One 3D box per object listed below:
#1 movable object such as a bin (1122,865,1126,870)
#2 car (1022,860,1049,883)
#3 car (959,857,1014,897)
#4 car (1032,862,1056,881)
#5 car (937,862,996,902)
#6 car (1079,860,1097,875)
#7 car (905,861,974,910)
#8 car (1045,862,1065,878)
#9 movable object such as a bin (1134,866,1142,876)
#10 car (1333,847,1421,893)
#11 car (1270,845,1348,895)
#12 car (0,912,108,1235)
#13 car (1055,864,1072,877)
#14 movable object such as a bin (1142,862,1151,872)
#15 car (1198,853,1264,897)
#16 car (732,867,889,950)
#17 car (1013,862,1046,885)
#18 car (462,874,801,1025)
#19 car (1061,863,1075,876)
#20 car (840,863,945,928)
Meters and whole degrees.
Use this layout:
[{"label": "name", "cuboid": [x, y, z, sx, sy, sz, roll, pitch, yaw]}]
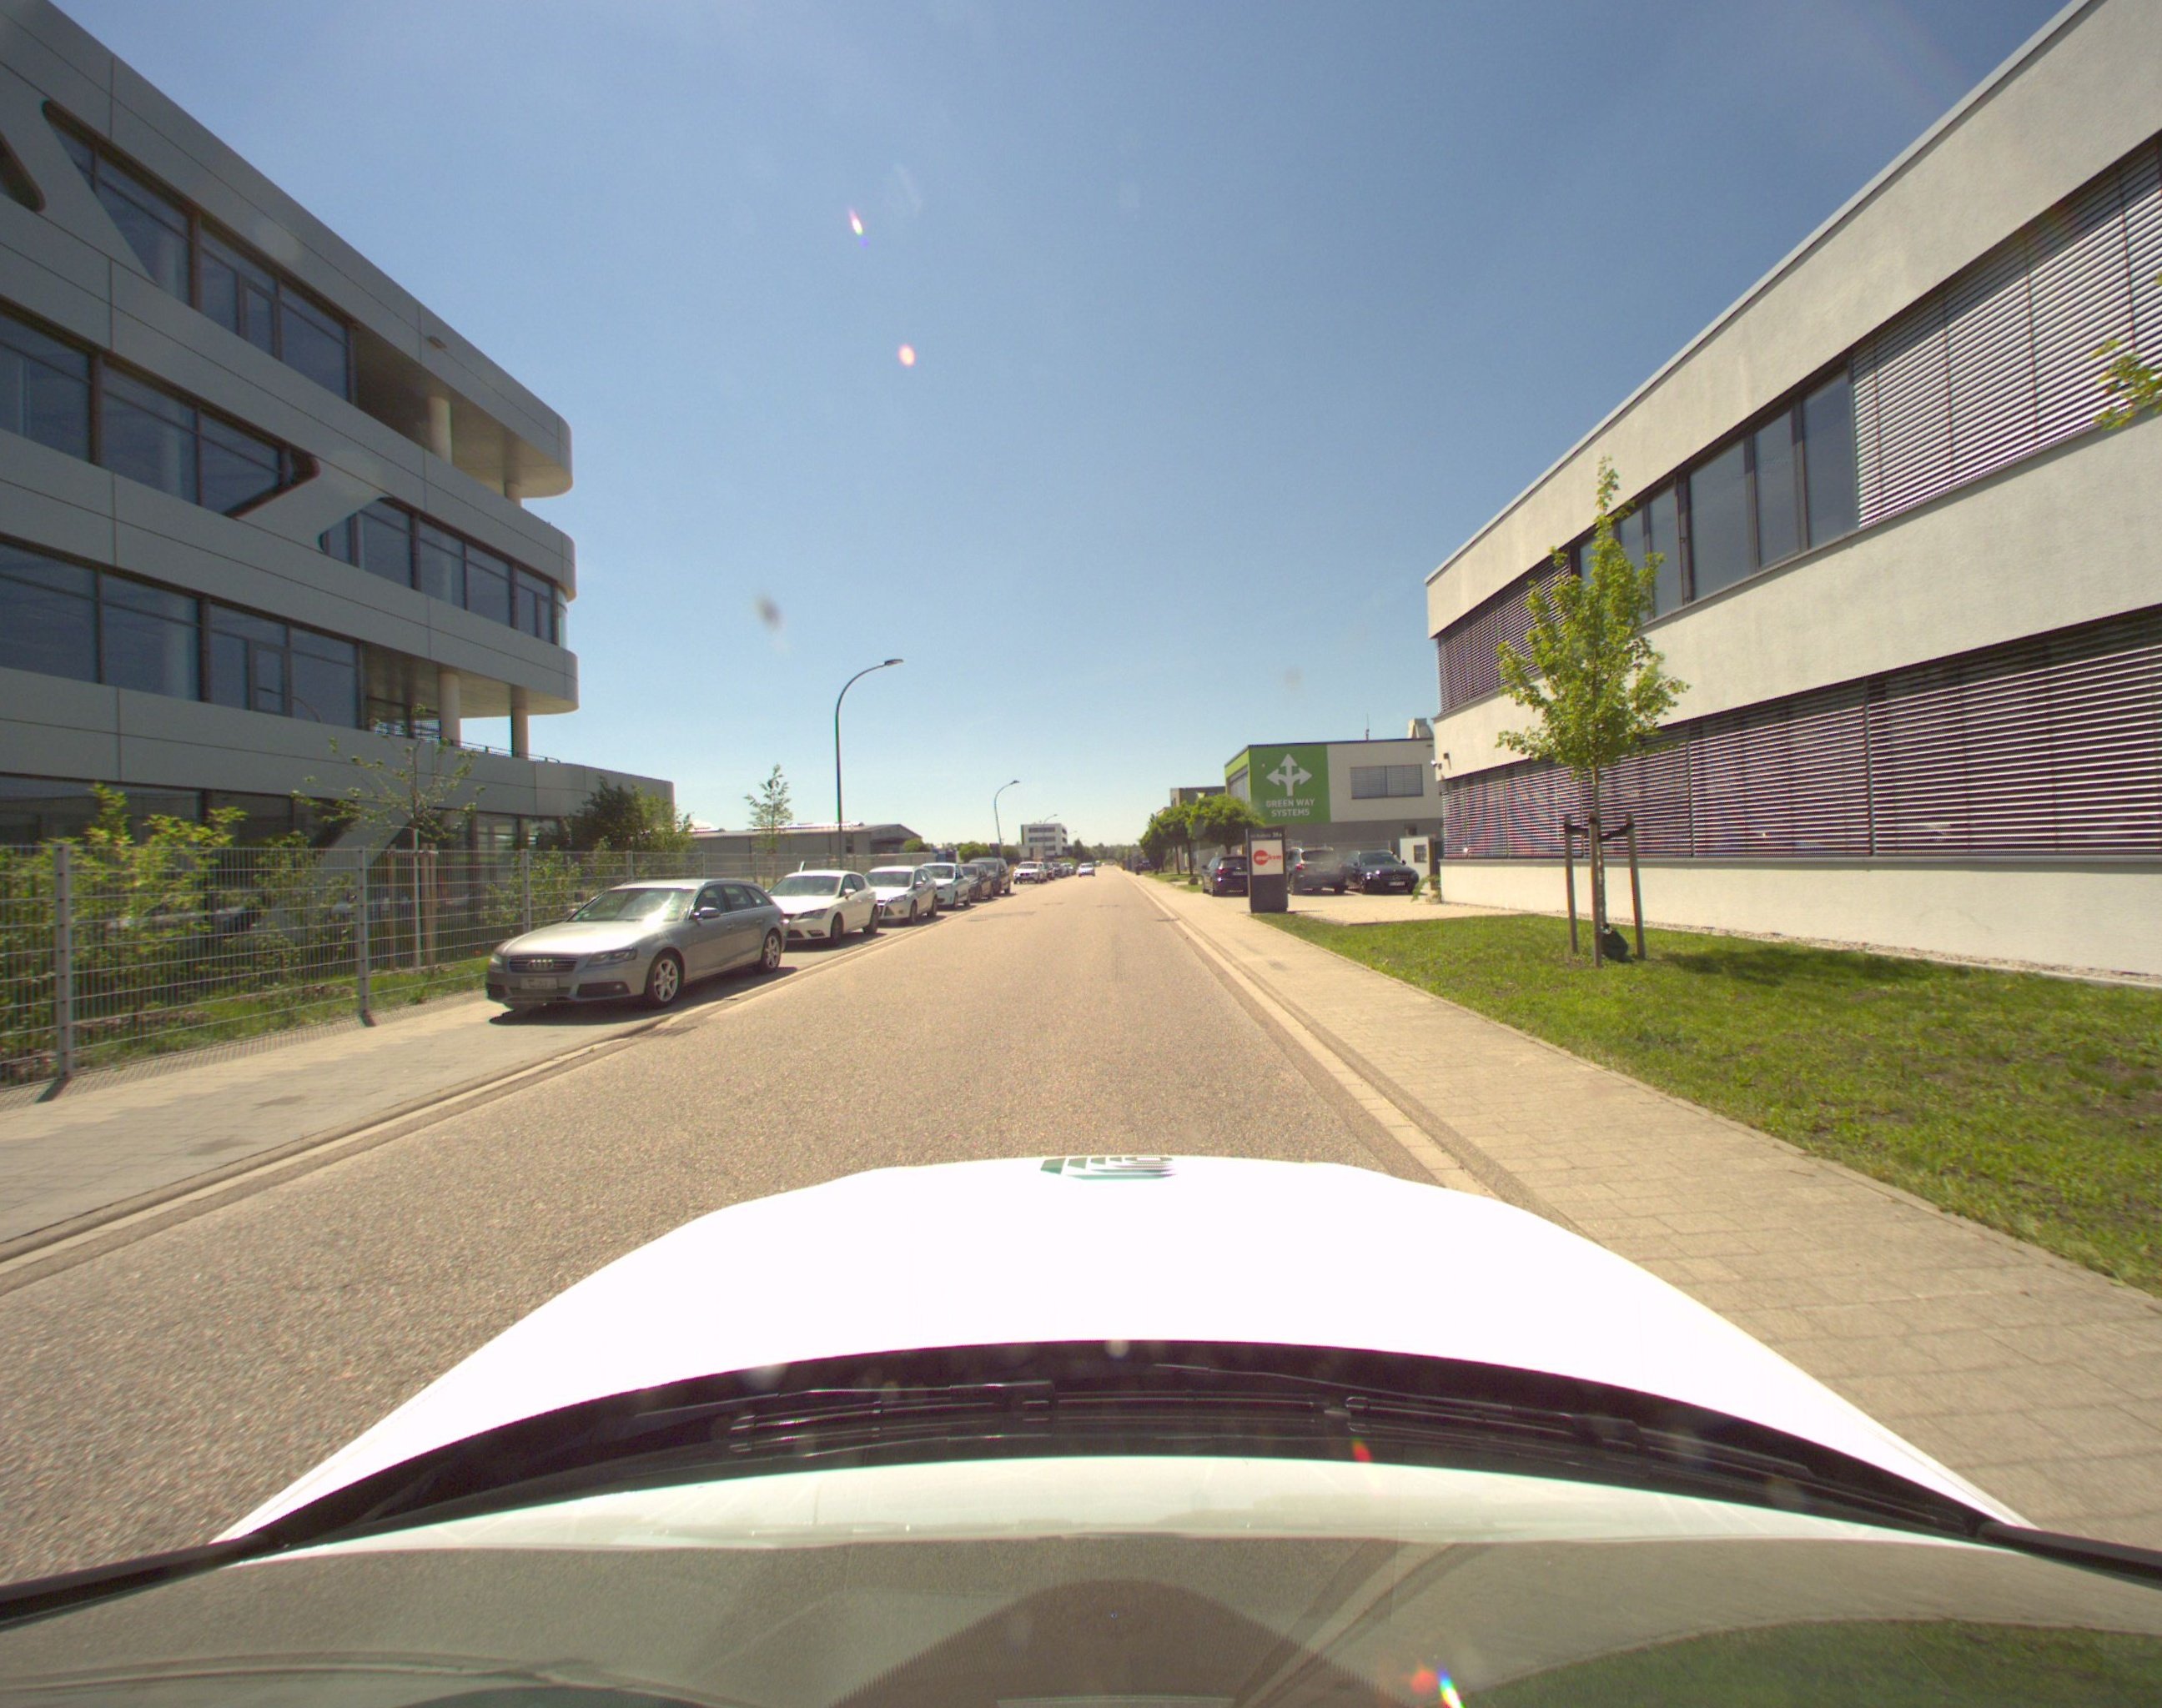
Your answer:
[{"label": "movable object such as a bin", "cuboid": [8.788, 2.756, 167.000, 0.549, 0.928, 0.523, -7, 0, 6]}, {"label": "car", "cuboid": [-3.509, 1.362, 63.353, 1.781, 1.656, 3.769, -1, -1, 1]}, {"label": "car", "cuboid": [-4.321, 1.006, 37.858, 1.796, 1.719, 4.624, -1, -1, 2]}, {"label": "car", "cuboid": [-3.172, 1.512, 70.773, 1.756, 1.517, 4.381, -1, -1, 1]}, {"label": "car", "cuboid": [-4.570, 1.092, 33.080, 1.628, 1.500, 3.974, -1, -1, 3]}, {"label": "car", "cuboid": [0.807, 1.470, 88.974, 1.698, 1.411, 4.786, -4, -1, 2]}, {"label": "car", "cuboid": [-4.798, 1.036, 28.002, 1.629, 1.536, 3.658, -1, -1, 1]}, {"label": "car", "cuboid": [-2.627, 1.663, 84.120, 1.784, 1.607, 4.463, -1, -1, 1]}, {"label": "movable object such as a bin", "cuboid": [5.516, 1.665, 78.678, 0.548, 0.928, 0.523, -6, -2, 11]}, {"label": "car", "cuboid": [10.212, 0.534, 28.381, 1.716, 1.449, 4.024, -1, -1, 2]}, {"label": "car", "cuboid": [7.985, 0.542, 28.834, 1.716, 1.633, 4.024, -1, -1, 2]}, {"label": "car", "cuboid": [-5.578, 1.001, 1.973, 1.694, 1.386, 3.936, -2, 0, -1]}, {"label": "car", "cuboid": [-2.189, 2.000, 100.492, 1.850, 1.481, 4.231, -1, -1, 2]}, {"label": "movable object such as a bin", "cuboid": [10.109, 1.947, 125.236, 1.329, 1.459, 0.949, -3, -1, 1]}, {"label": "car", "cuboid": [5.310, 0.708, 29.305, 1.686, 1.428, 4.248, -1, -1, 2]}, {"label": "car", "cuboid": [-5.415, 1.017, 16.963, 1.697, 1.444, 4.440, -1, -1, 1]}, {"label": "car", "cuboid": [-3.616, 1.340, 58.027, 1.779, 1.542, 4.368, -1, -1, 4]}, {"label": "car", "cuboid": [-5.423, 1.037, 10.694, 1.677, 1.386, 4.642, -2, 0, 3]}, {"label": "car", "cuboid": [-1.765, 2.096, 109.610, 1.763, 1.592, 4.360, -1, -1, 1]}, {"label": "car", "cuboid": [-5.018, 1.048, 22.314, 1.697, 1.536, 4.573, -1, -1, 1]}]
